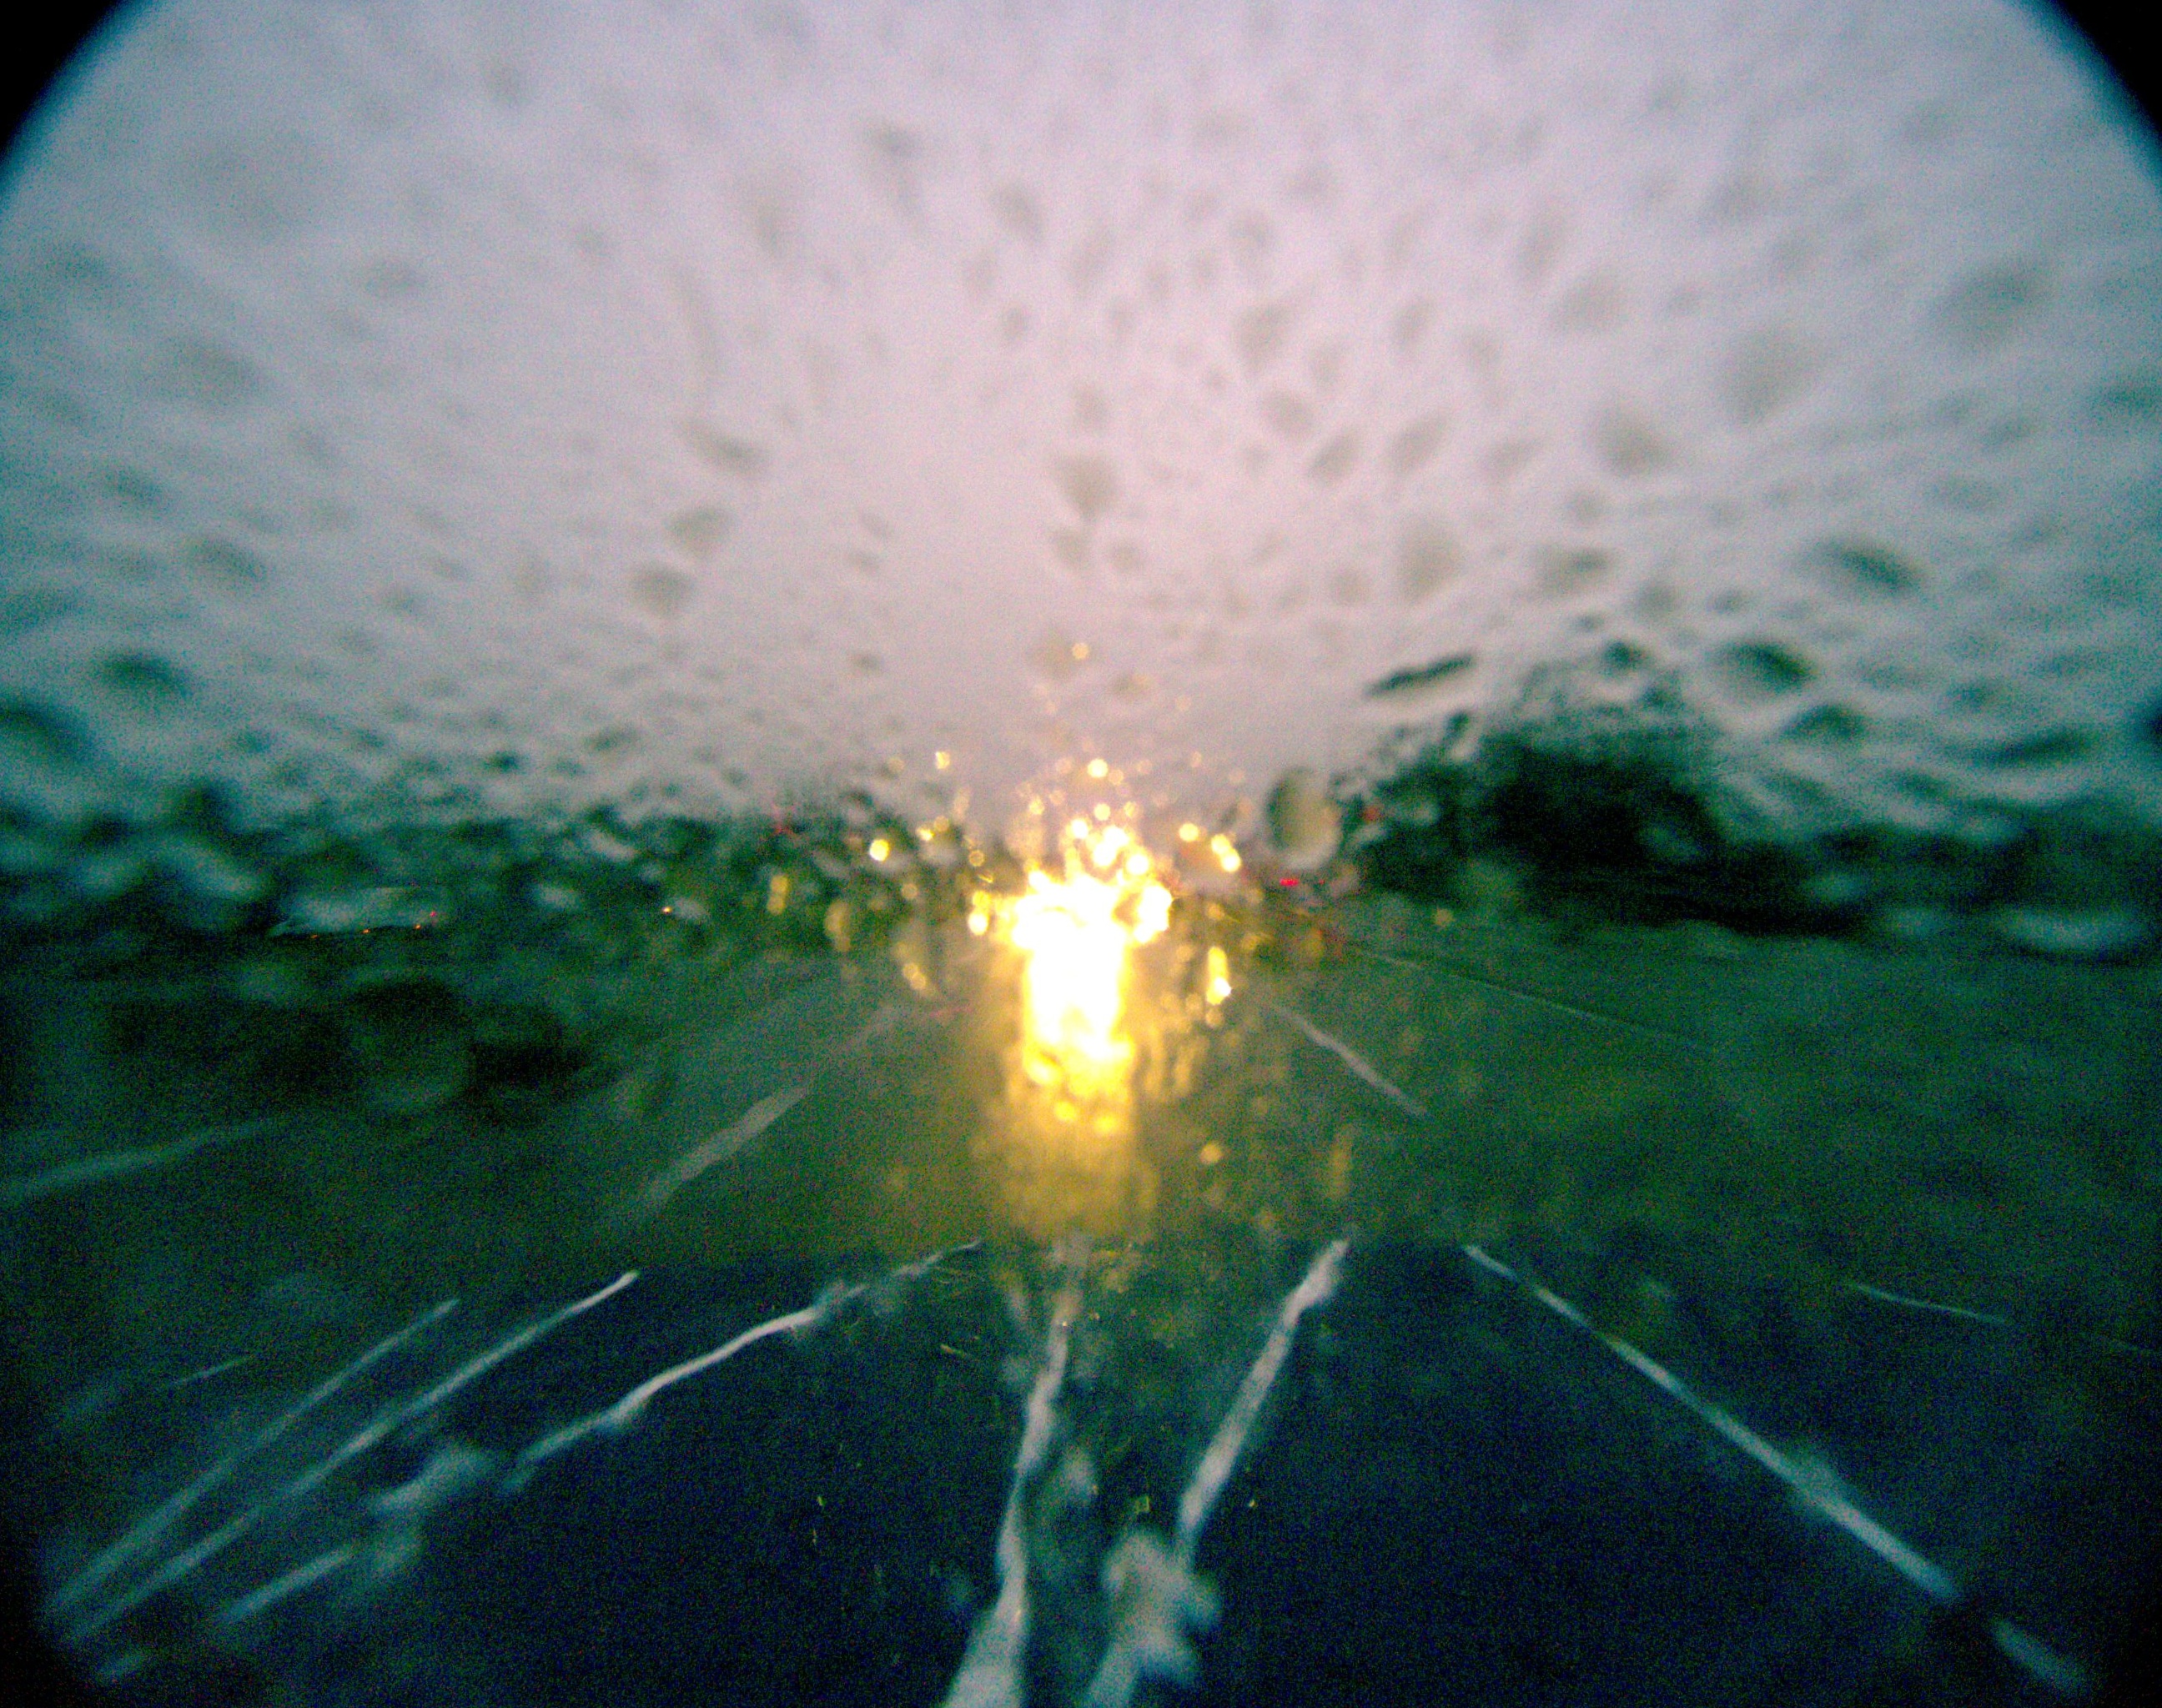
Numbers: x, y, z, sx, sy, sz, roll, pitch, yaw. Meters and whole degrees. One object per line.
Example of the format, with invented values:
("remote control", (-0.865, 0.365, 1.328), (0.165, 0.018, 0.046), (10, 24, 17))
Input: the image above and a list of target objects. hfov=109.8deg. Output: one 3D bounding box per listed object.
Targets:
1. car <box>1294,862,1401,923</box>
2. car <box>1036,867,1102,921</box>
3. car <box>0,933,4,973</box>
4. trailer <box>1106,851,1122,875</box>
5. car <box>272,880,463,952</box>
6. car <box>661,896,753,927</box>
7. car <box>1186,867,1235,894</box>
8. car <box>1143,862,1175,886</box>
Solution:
("car", (7.295, 0.995, 21.202), (1.651, 1.492, 4.000), (0, 0, 1))
("car", (-0.293, 1.191, 23.974), (1.886, 1.513, 4.001), (-1, -1, 1))
("car", (-54.735, 4.907, 37.031), (4.895, 1.923, 2.004), (-4, -1, 29))
("trailer", (6.398, 1.806, 149.796), (2.634, 4.557, 13.326), (0, -1, 0))
("car", (-34.821, 3.014, 37.343), (6.395, 2.946, 2.287), (-3, -4, -19))
("car", (-21.503, 3.298, 43.743), (4.385, 1.406, 1.738), (-3, -2, -39))
("car", (7.390, 1.491, 43.803), (1.999, 1.463, 4.472), (0, 0, -1))
("car", (7.144, 1.844, 70.313), (1.999, 2.002, 4.998), (-3, 0, -5))
